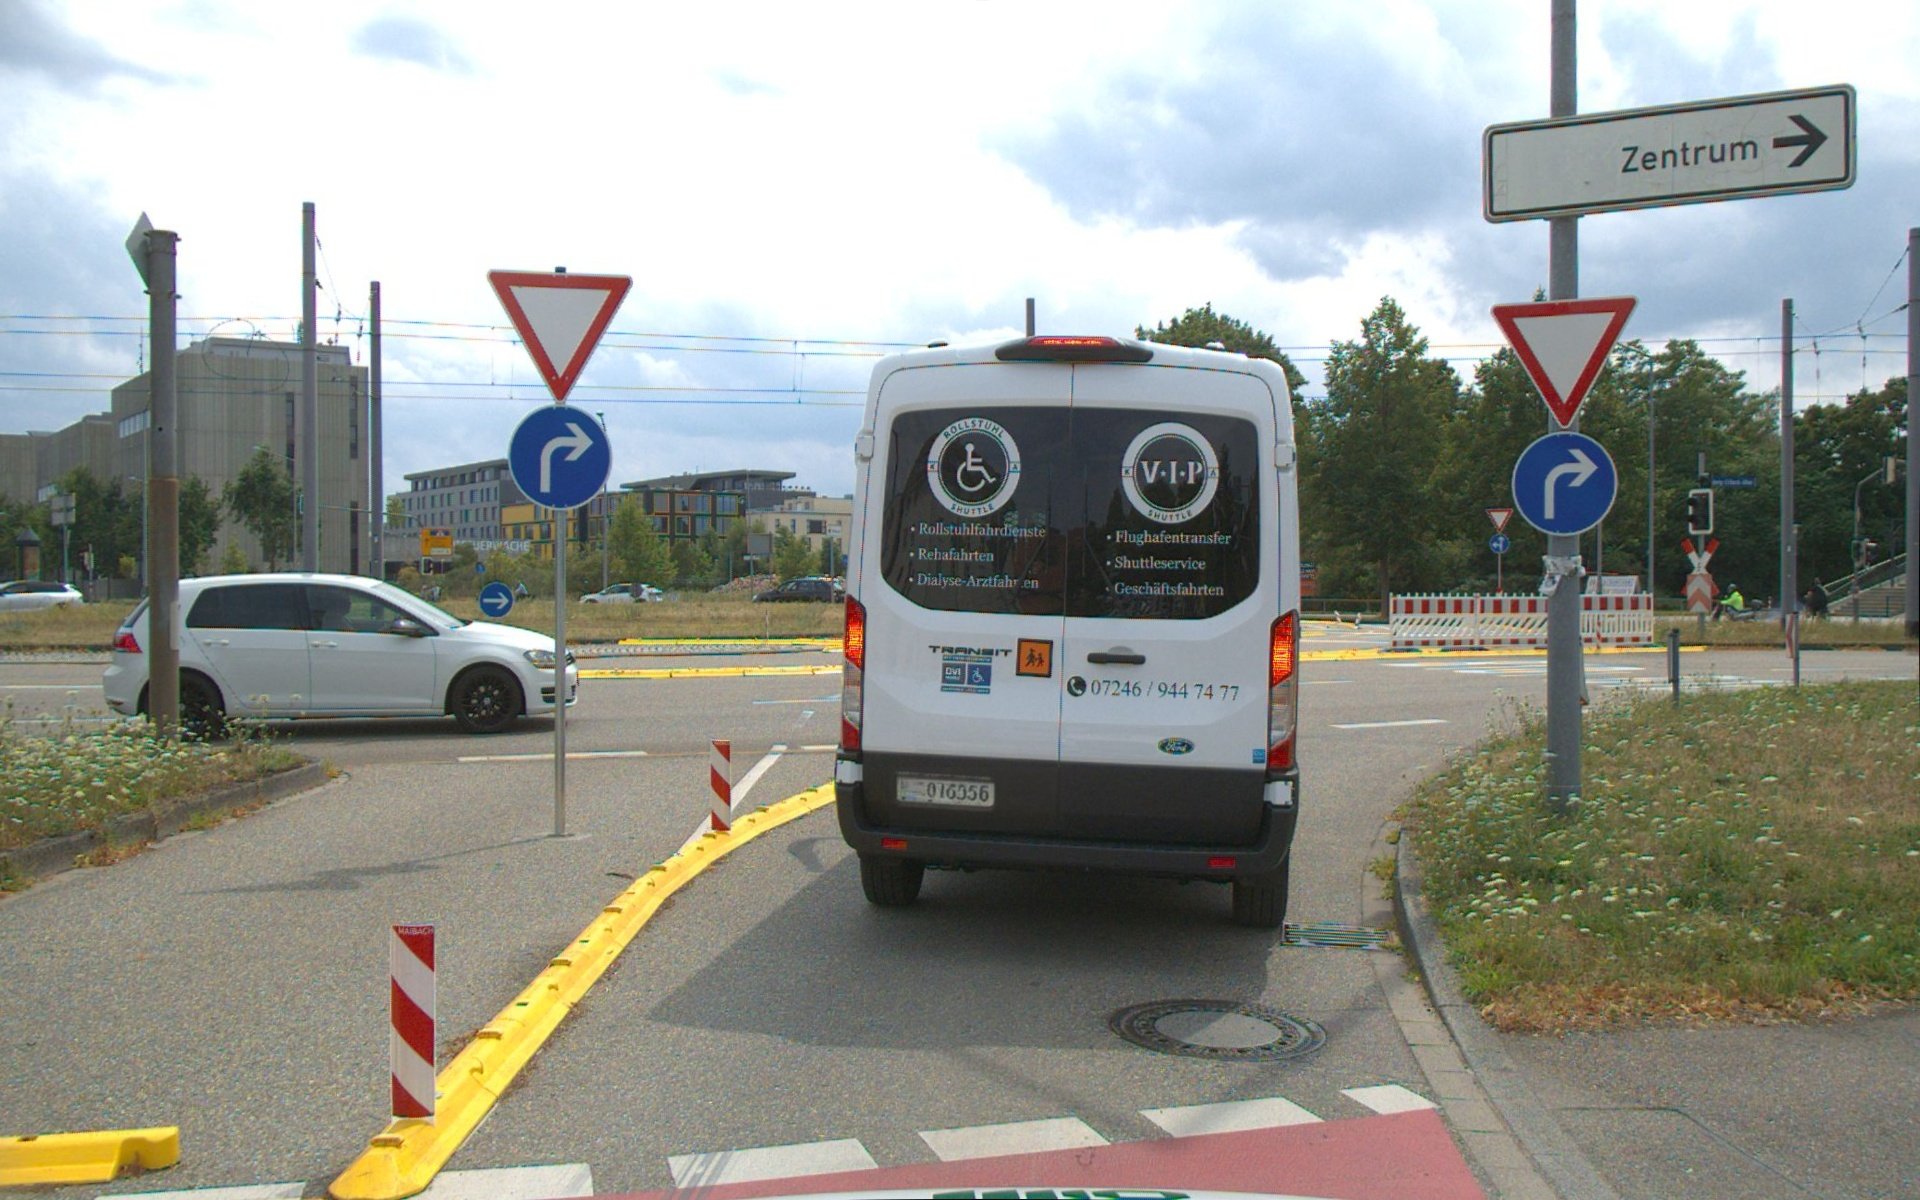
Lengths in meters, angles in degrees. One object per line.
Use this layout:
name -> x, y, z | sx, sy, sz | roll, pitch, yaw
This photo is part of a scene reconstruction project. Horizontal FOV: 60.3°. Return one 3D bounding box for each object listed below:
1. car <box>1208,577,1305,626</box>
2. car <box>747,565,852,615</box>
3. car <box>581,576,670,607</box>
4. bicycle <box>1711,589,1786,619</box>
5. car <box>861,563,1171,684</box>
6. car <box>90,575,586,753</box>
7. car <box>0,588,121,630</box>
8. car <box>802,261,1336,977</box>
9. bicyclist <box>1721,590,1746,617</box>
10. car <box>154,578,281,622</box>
car -> 11.037, 0.088, 61.881 | 1.962, 1.780, 3.980 | 0, -1, -17
car -> -6.754, -0.420, 69.695 | 3.904, 2.049, 2.001 | 0, -1, 19
car -> -16.590, -0.415, 82.007 | 3.902, 1.489, 1.835 | 1, -1, 11
bicycle -> 25.944, 0.142, 54.422 | 2.162, 0.954, 0.611 | 0, -1, 39
car -> 0.820, 0.268, 22.759 | 4.071, 1.523, 1.779 | -1, 1, -36
car -> -5.727, 0.536, 15.717 | 4.176, 1.523, 1.794 | 0, 1, -16
car -> -34.362, 0.315, 61.720 | 1.966, 1.508, 5.148 | 0, 1, 44
car -> 0.773, 0.059, 9.265 | 2.081, 2.744, 5.636 | 0, 0, 7
bicyclist -> 25.590, 0.123, 54.709 | 0.646, 0.899, 0.604 | 0, -1, 38
car -> -29.873, -0.020, 66.612 | 1.905, 1.695, 4.326 | 0, 0, 44
